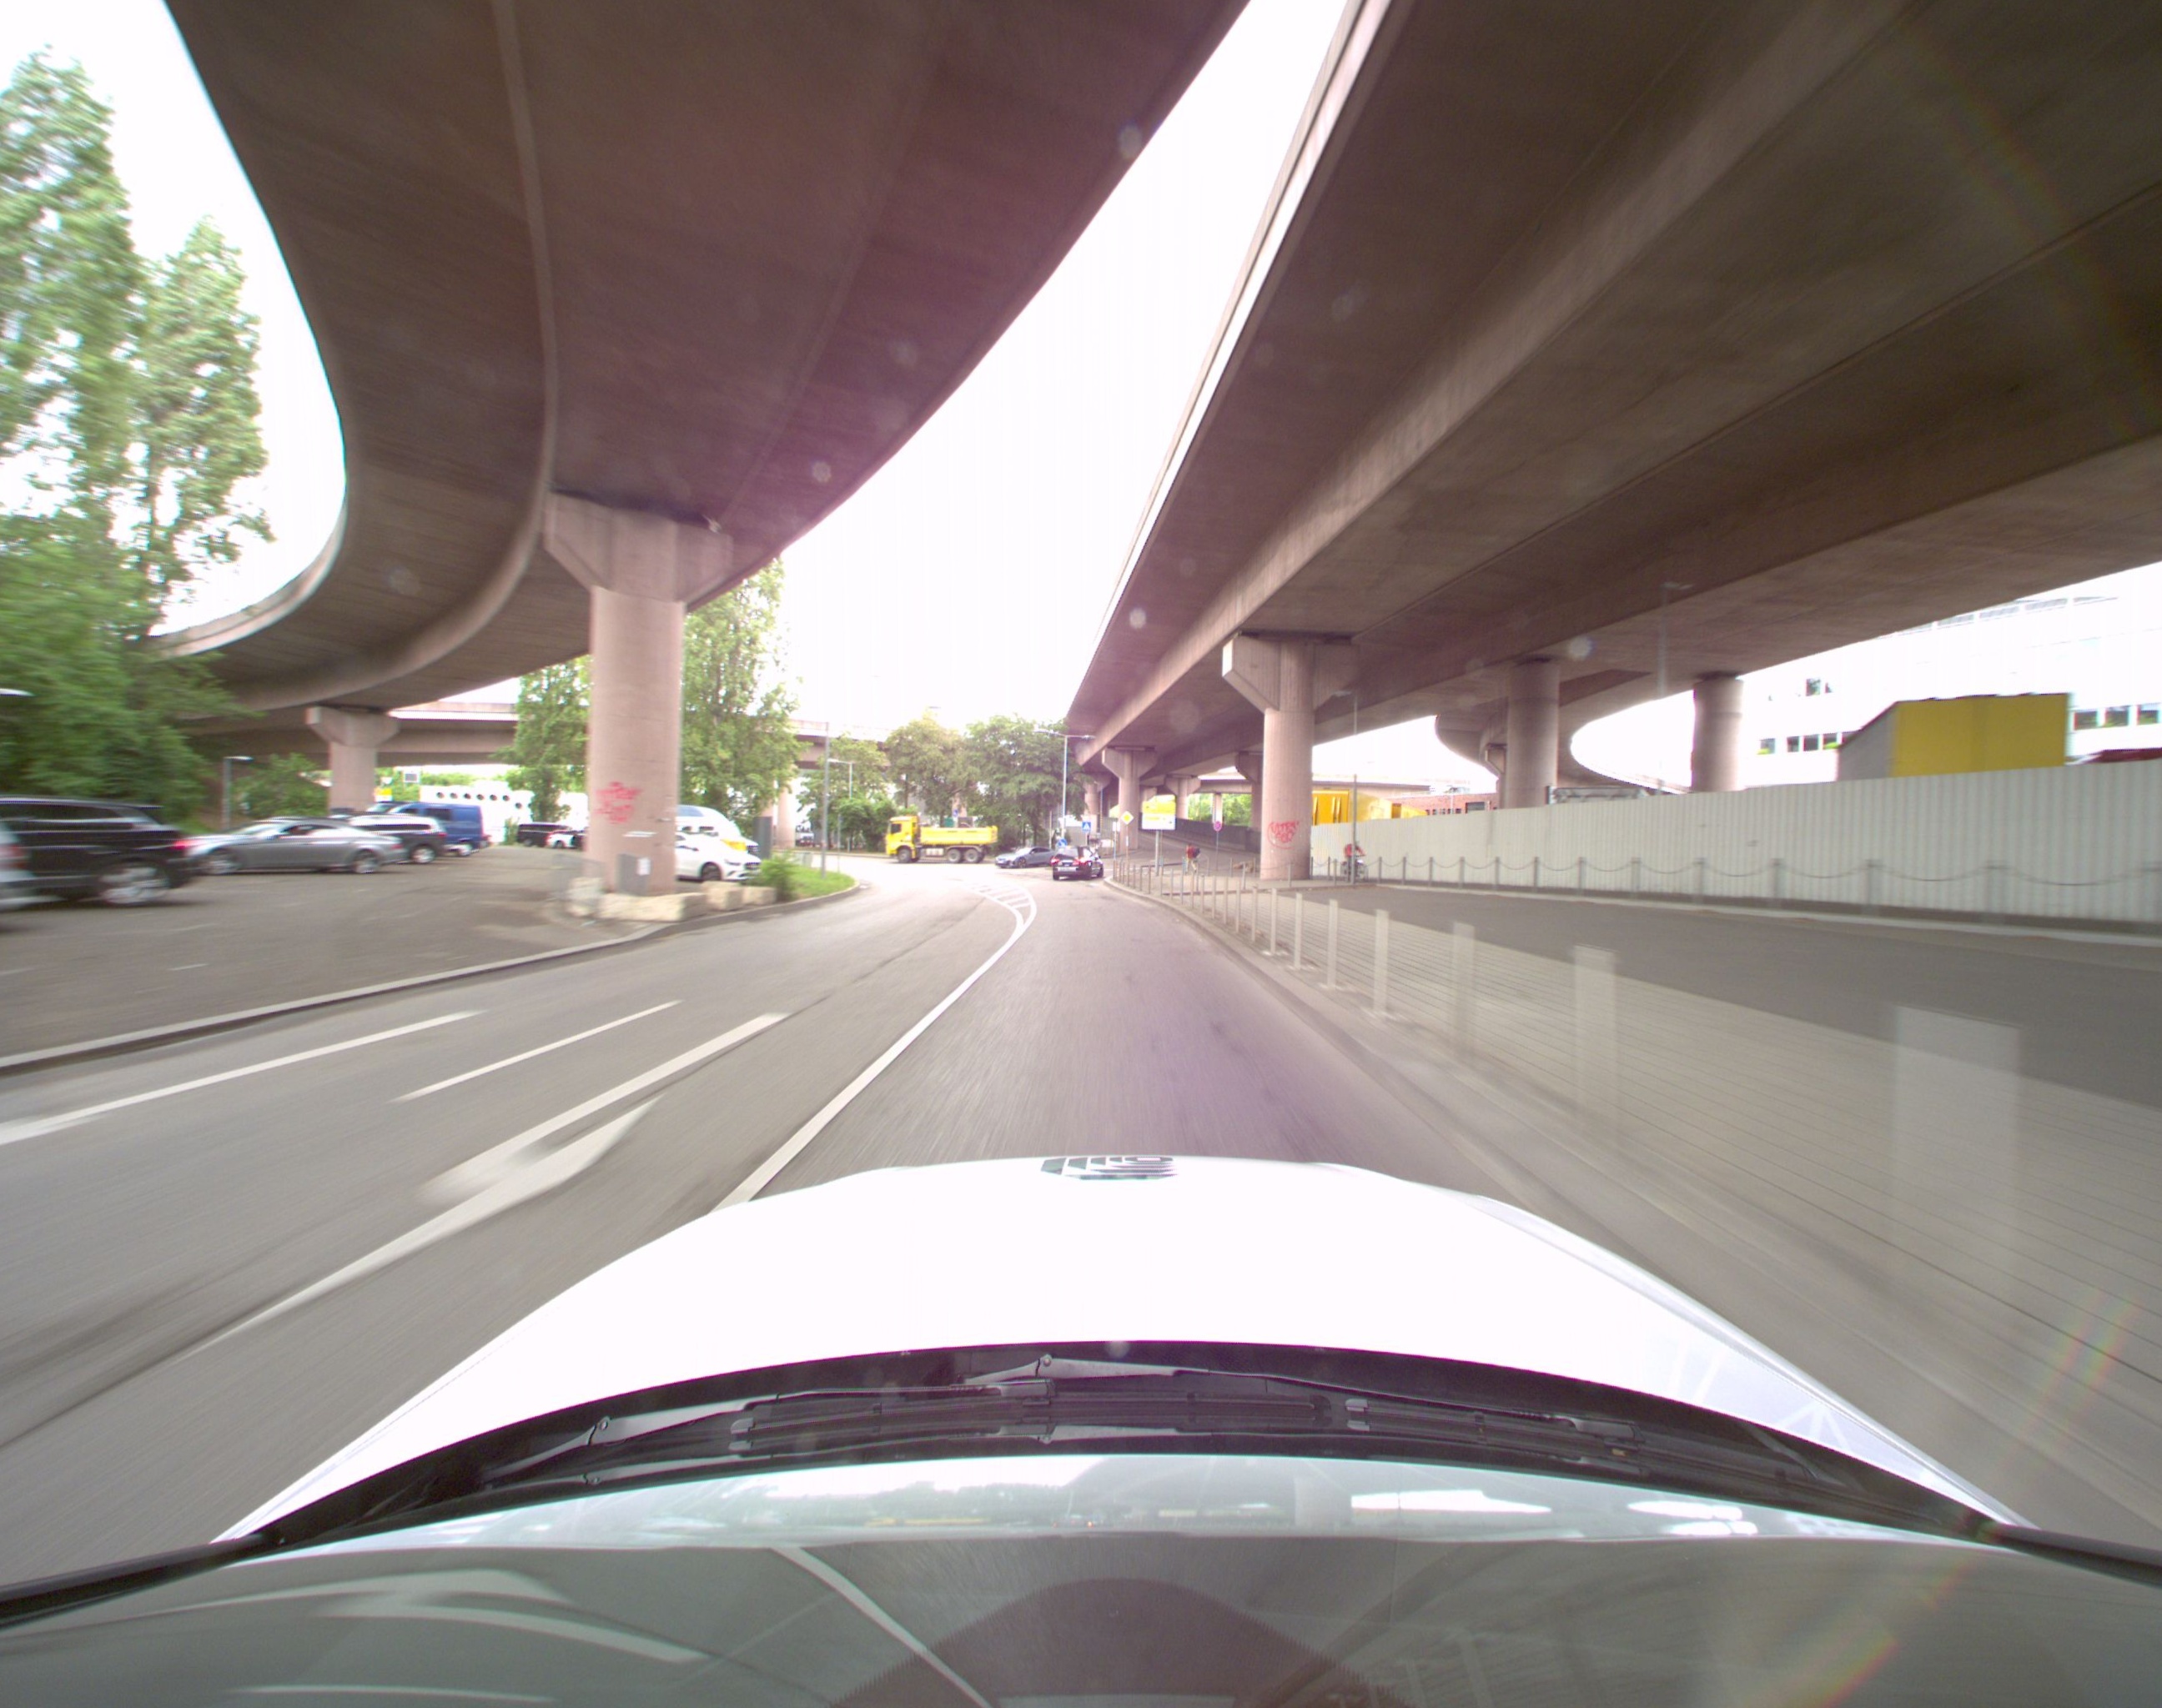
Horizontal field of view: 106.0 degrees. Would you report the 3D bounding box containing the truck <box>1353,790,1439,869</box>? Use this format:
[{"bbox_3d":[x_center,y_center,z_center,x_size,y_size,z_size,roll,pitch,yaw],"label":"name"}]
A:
[{"bbox_3d":[21.312,-1.514,54.735,3.107,4.903,8.773,1,0,37],"label":"truck"}]

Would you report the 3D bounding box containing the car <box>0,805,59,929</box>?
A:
[{"bbox_3d":[-14.000,0.132,8.481,1.772,1.454,3.764,1,0,18],"label":"car"}]

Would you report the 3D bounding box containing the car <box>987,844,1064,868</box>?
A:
[{"bbox_3d":[-3.645,0.079,53.893,2.146,1.501,4.962,1,1,43],"label":"car"}]

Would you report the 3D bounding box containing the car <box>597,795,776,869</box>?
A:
[{"bbox_3d":[-16.220,-0.889,33.785,6.156,2.724,2.367,2,1,-1],"label":"car"}]

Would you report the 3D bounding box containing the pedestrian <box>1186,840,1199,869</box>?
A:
[{"bbox_3d":[6.367,0.026,46.533,0.537,1.675,0.555,-1,2,-17],"label":"pedestrian"}]

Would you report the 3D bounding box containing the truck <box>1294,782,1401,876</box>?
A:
[{"bbox_3d":[15.560,-1.330,47.031,3.107,4.917,8.773,1,0,37],"label":"truck"}]

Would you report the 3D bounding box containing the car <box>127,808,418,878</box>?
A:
[{"bbox_3d":[-20.235,-0.288,20.750,1.842,1.487,4.912,4,2,18],"label":"car"}]

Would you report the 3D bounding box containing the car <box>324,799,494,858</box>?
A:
[{"bbox_3d":[-27.294,-0.990,33.344,2.101,2.254,5.039,0,1,15],"label":"car"}]

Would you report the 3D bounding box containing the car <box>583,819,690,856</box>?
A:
[{"bbox_3d":[-26.565,-0.957,48.856,5.076,2.072,2.258,1,-1,-2],"label":"car"}]

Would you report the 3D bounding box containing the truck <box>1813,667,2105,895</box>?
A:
[{"bbox_3d":[21.570,-1.487,20.819,3.107,4.443,9.788,0,1,35],"label":"truck"}]

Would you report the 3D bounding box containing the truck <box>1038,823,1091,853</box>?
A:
[{"bbox_3d":[-1.793,-1.727,83.915,2.931,2.898,6.503,-1,3,-26],"label":"truck"}]

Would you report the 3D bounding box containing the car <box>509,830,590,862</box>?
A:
[{"bbox_3d":[-34.367,-0.533,52.783,3.996,2.013,1.989,0,1,-17],"label":"car"}]

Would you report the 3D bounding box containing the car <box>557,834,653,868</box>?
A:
[{"bbox_3d":[-25.123,-0.187,43.144,3.997,1.730,1.989,-1,0,-17],"label":"car"}]

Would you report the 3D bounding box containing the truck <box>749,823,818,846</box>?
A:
[{"bbox_3d":[-33.752,-2.242,92.460,7.150,2.551,2.737,1,1,17],"label":"truck"}]

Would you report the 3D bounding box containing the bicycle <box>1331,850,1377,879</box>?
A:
[{"bbox_3d":[10.641,0.391,31.828,0.802,1.097,2.123,-1,1,-11],"label":"bicycle"}]

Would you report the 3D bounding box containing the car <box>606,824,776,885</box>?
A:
[{"bbox_3d":[-12.204,-0.002,25.621,4.357,1.605,1.959,3,1,7],"label":"car"}]

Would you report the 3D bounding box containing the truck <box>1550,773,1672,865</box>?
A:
[{"bbox_3d":[20.379,-1.277,31.032,3.107,2.943,8.774,-2,0,38],"label":"truck"}]

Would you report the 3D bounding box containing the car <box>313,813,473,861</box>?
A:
[{"bbox_3d":[-25.519,-0.615,30.418,1.880,1.675,4.174,0,1,19],"label":"car"}]

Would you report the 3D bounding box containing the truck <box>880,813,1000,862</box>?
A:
[{"bbox_3d":[-10.291,-1.253,60.215,8.183,3.480,2.940,0,4,3],"label":"truck"}]

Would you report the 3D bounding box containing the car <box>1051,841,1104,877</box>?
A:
[{"bbox_3d":[-0.121,0.226,41.149,1.982,1.679,4.571,-1,1,8],"label":"car"}]

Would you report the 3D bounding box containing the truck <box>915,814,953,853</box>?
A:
[{"bbox_3d":[-18.792,-2.674,103.746,3.215,4.779,7.992,0,3,-21],"label":"truck"}]

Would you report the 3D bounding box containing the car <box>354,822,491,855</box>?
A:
[{"bbox_3d":[-30.772,-0.702,38.257,1.977,1.435,4.668,0,1,19],"label":"car"}]

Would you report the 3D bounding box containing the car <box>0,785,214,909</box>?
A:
[{"bbox_3d":[-15.592,-0.125,11.474,1.842,1.691,4.183,2,0,18],"label":"car"}]

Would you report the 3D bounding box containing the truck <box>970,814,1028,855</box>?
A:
[{"bbox_3d":[-8.231,-2.031,80.580,3.082,3.867,7.980,-1,3,-26],"label":"truck"}]

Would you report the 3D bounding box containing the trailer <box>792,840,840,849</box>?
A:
[{"bbox_3d":[-28.254,-0.999,86.664,6.216,0.743,2.169,3,5,44],"label":"trailer"}]

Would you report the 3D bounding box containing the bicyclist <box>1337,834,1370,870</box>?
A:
[{"bbox_3d":[10.637,-0.085,31.810,0.796,1.405,1.062,-1,0,-11],"label":"bicyclist"}]

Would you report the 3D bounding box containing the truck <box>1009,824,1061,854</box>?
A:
[{"bbox_3d":[-4.757,-1.561,82.491,2.931,2.898,6.503,-1,3,-26],"label":"truck"}]

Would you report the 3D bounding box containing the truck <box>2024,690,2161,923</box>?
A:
[{"bbox_3d":[21.883,-0.873,15.583,2.861,4.183,10.130,0,1,37],"label":"truck"}]

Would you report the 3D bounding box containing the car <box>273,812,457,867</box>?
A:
[{"bbox_3d":[-23.570,-0.463,27.026,1.879,1.675,4.175,0,1,20],"label":"car"}]

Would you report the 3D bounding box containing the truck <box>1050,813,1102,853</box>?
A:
[{"bbox_3d":[-0.696,-2.406,91.278,3.078,4.298,7.991,0,3,-22],"label":"truck"}]

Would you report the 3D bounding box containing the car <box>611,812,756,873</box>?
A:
[{"bbox_3d":[-15.109,-0.441,31.096,4.537,2.111,1.852,2,1,2],"label":"car"}]

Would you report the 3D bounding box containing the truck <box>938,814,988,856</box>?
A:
[{"bbox_3d":[-11.802,-1.878,80.929,3.080,3.963,6.868,1,1,-24],"label":"truck"}]

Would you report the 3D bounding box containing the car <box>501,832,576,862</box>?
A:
[{"bbox_3d":[-38.425,-0.509,57.802,3.996,2.013,1.989,0,1,-17],"label":"car"}]
